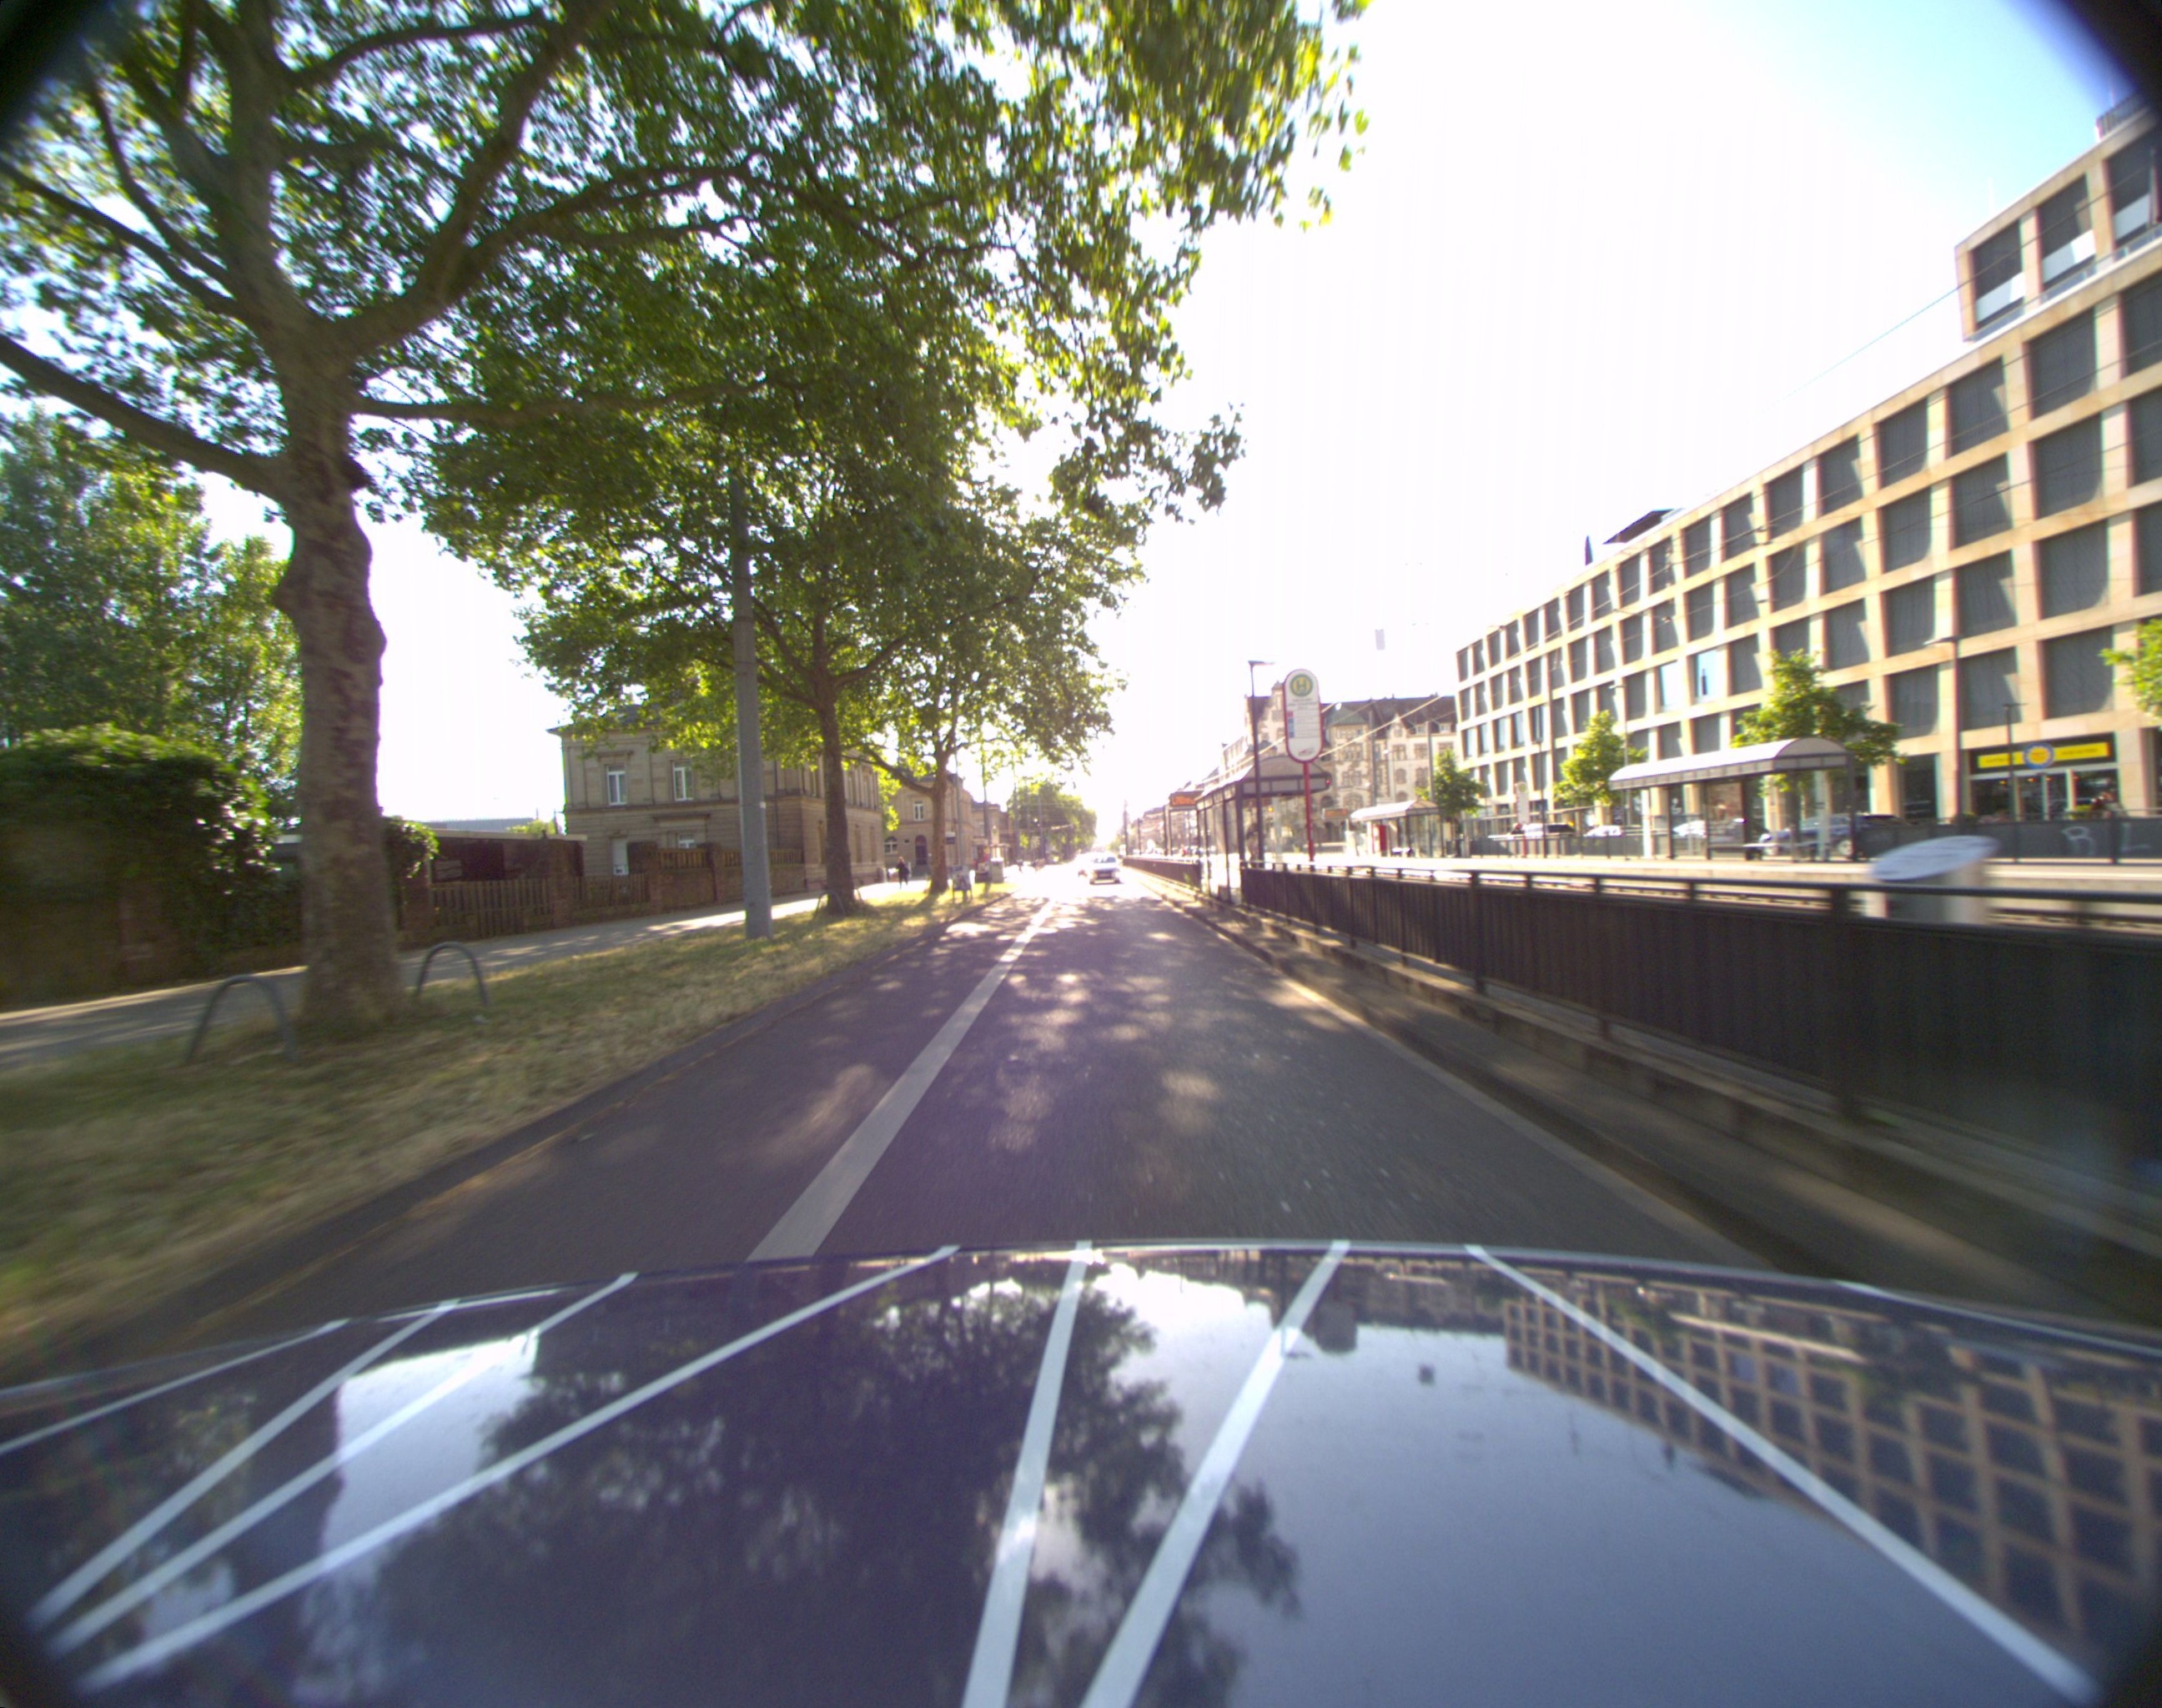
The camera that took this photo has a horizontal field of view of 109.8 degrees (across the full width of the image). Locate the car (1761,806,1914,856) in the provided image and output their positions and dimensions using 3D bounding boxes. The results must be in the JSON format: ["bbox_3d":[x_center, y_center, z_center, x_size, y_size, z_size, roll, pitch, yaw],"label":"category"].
[{"bbox_3d":[25.754,-0.752,26.057,1.649,1.503,3.600,-4,0,1],"label":"car"}]

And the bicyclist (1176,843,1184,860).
[{"bbox_3d":[9.255,-0.229,70.881,0.629,1.609,0.684,-3,1,9],"label":"bicyclist"}]

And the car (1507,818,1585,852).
[{"bbox_3d":[26.084,-1.031,42.758,1.923,1.759,4.000,-4,0,1],"label":"car"}]

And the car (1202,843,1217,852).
[{"bbox_3d":[23.223,-1.195,137.260,1.741,1.516,3.998,-5,0,-4],"label":"car"}]

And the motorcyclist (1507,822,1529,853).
[{"bbox_3d":[21.890,-0.821,38.049,0.577,1.524,0.765,-3,1,2],"label":"motorcyclist"}]

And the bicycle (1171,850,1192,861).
[{"bbox_3d":[9.392,0.162,70.878,1.888,0.873,0.608,-3,1,9],"label":"bicycle"}]

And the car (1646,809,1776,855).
[{"bbox_3d":[25.755,-0.847,31.269,1.998,1.653,4.000,-4,0,1],"label":"car"}]

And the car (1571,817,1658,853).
[{"bbox_3d":[25.878,-0.892,37.009,1.649,1.553,3.650,-4,0,1],"label":"car"}]

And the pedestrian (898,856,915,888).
[{"bbox_3d":[-9.650,0.968,42.034,0.771,1.734,0.796,-2,1,-5],"label":"pedestrian"}]

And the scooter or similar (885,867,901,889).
[{"bbox_3d":[-10.321,1.296,41.778,0.720,1.149,0.759,-2,1,-6],"label":"scooter or similar"}]

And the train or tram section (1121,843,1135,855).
[{"bbox_3d":[14.176,-1.513,231.497,2.781,3.378,19.474,-4,0,0],"label":"train or tram section"}]

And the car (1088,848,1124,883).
[{"bbox_3d":[1.248,0.555,38.947,1.649,1.555,3.665,-4,1,0],"label":"car"}]

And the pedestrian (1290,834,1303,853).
[{"bbox_3d":[18.509,-0.909,65.334,0.795,1.635,0.933,-3,1,2],"label":"pedestrian"}]

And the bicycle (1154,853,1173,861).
[{"bbox_3d":[7.639,0.255,70.389,1.724,0.605,0.512,-4,1,9],"label":"bicycle"}]

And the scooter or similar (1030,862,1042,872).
[{"bbox_3d":[-4.078,1.151,68.919,1.023,0.807,0.265,-4,1,1],"label":"scooter or similar"}]

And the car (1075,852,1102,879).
[{"bbox_3d":[0.496,0.741,50.965,1.649,1.555,3.665,-5,1,0],"label":"car"}]

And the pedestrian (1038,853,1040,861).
[{"bbox_3d":[-8.951,0.653,162.742,0.364,1.635,0.390,-4,1,1],"label":"pedestrian"}]

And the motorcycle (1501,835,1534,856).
[{"bbox_3d":[21.933,-0.431,38.188,0.606,1.015,1.841,-3,0,2],"label":"motorcycle"}]

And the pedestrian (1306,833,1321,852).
[{"bbox_3d":[21.167,-1.021,69.264,0.933,1.635,0.795,-4,1,-13],"label":"pedestrian"}]

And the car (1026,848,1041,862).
[{"bbox_3d":[-8.027,0.148,128.555,1.833,2.035,4.000,-4,1,4],"label":"car"}]

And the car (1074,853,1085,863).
[{"bbox_3d":[-0.230,0.814,144.548,1.833,1.645,3.999,-4,1,1],"label":"car"}]

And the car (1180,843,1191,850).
[{"bbox_3d":[22.846,-1.603,165.809,1.741,1.516,4.000,-5,0,0],"label":"car"}]

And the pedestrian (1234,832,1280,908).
[{"bbox_3d":[3.627,0.318,15.703,0.747,1.500,0.666,-3,1,3],"label":"pedestrian"}]

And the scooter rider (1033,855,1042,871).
[{"bbox_3d":[-3.928,0.853,69.001,0.703,1.389,0.599,-4,1,1],"label":"scooter rider"}]

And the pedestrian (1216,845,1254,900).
[{"bbox_3d":[3.734,0.439,18.442,0.743,1.266,0.524,-3,1,0],"label":"pedestrian"}]
